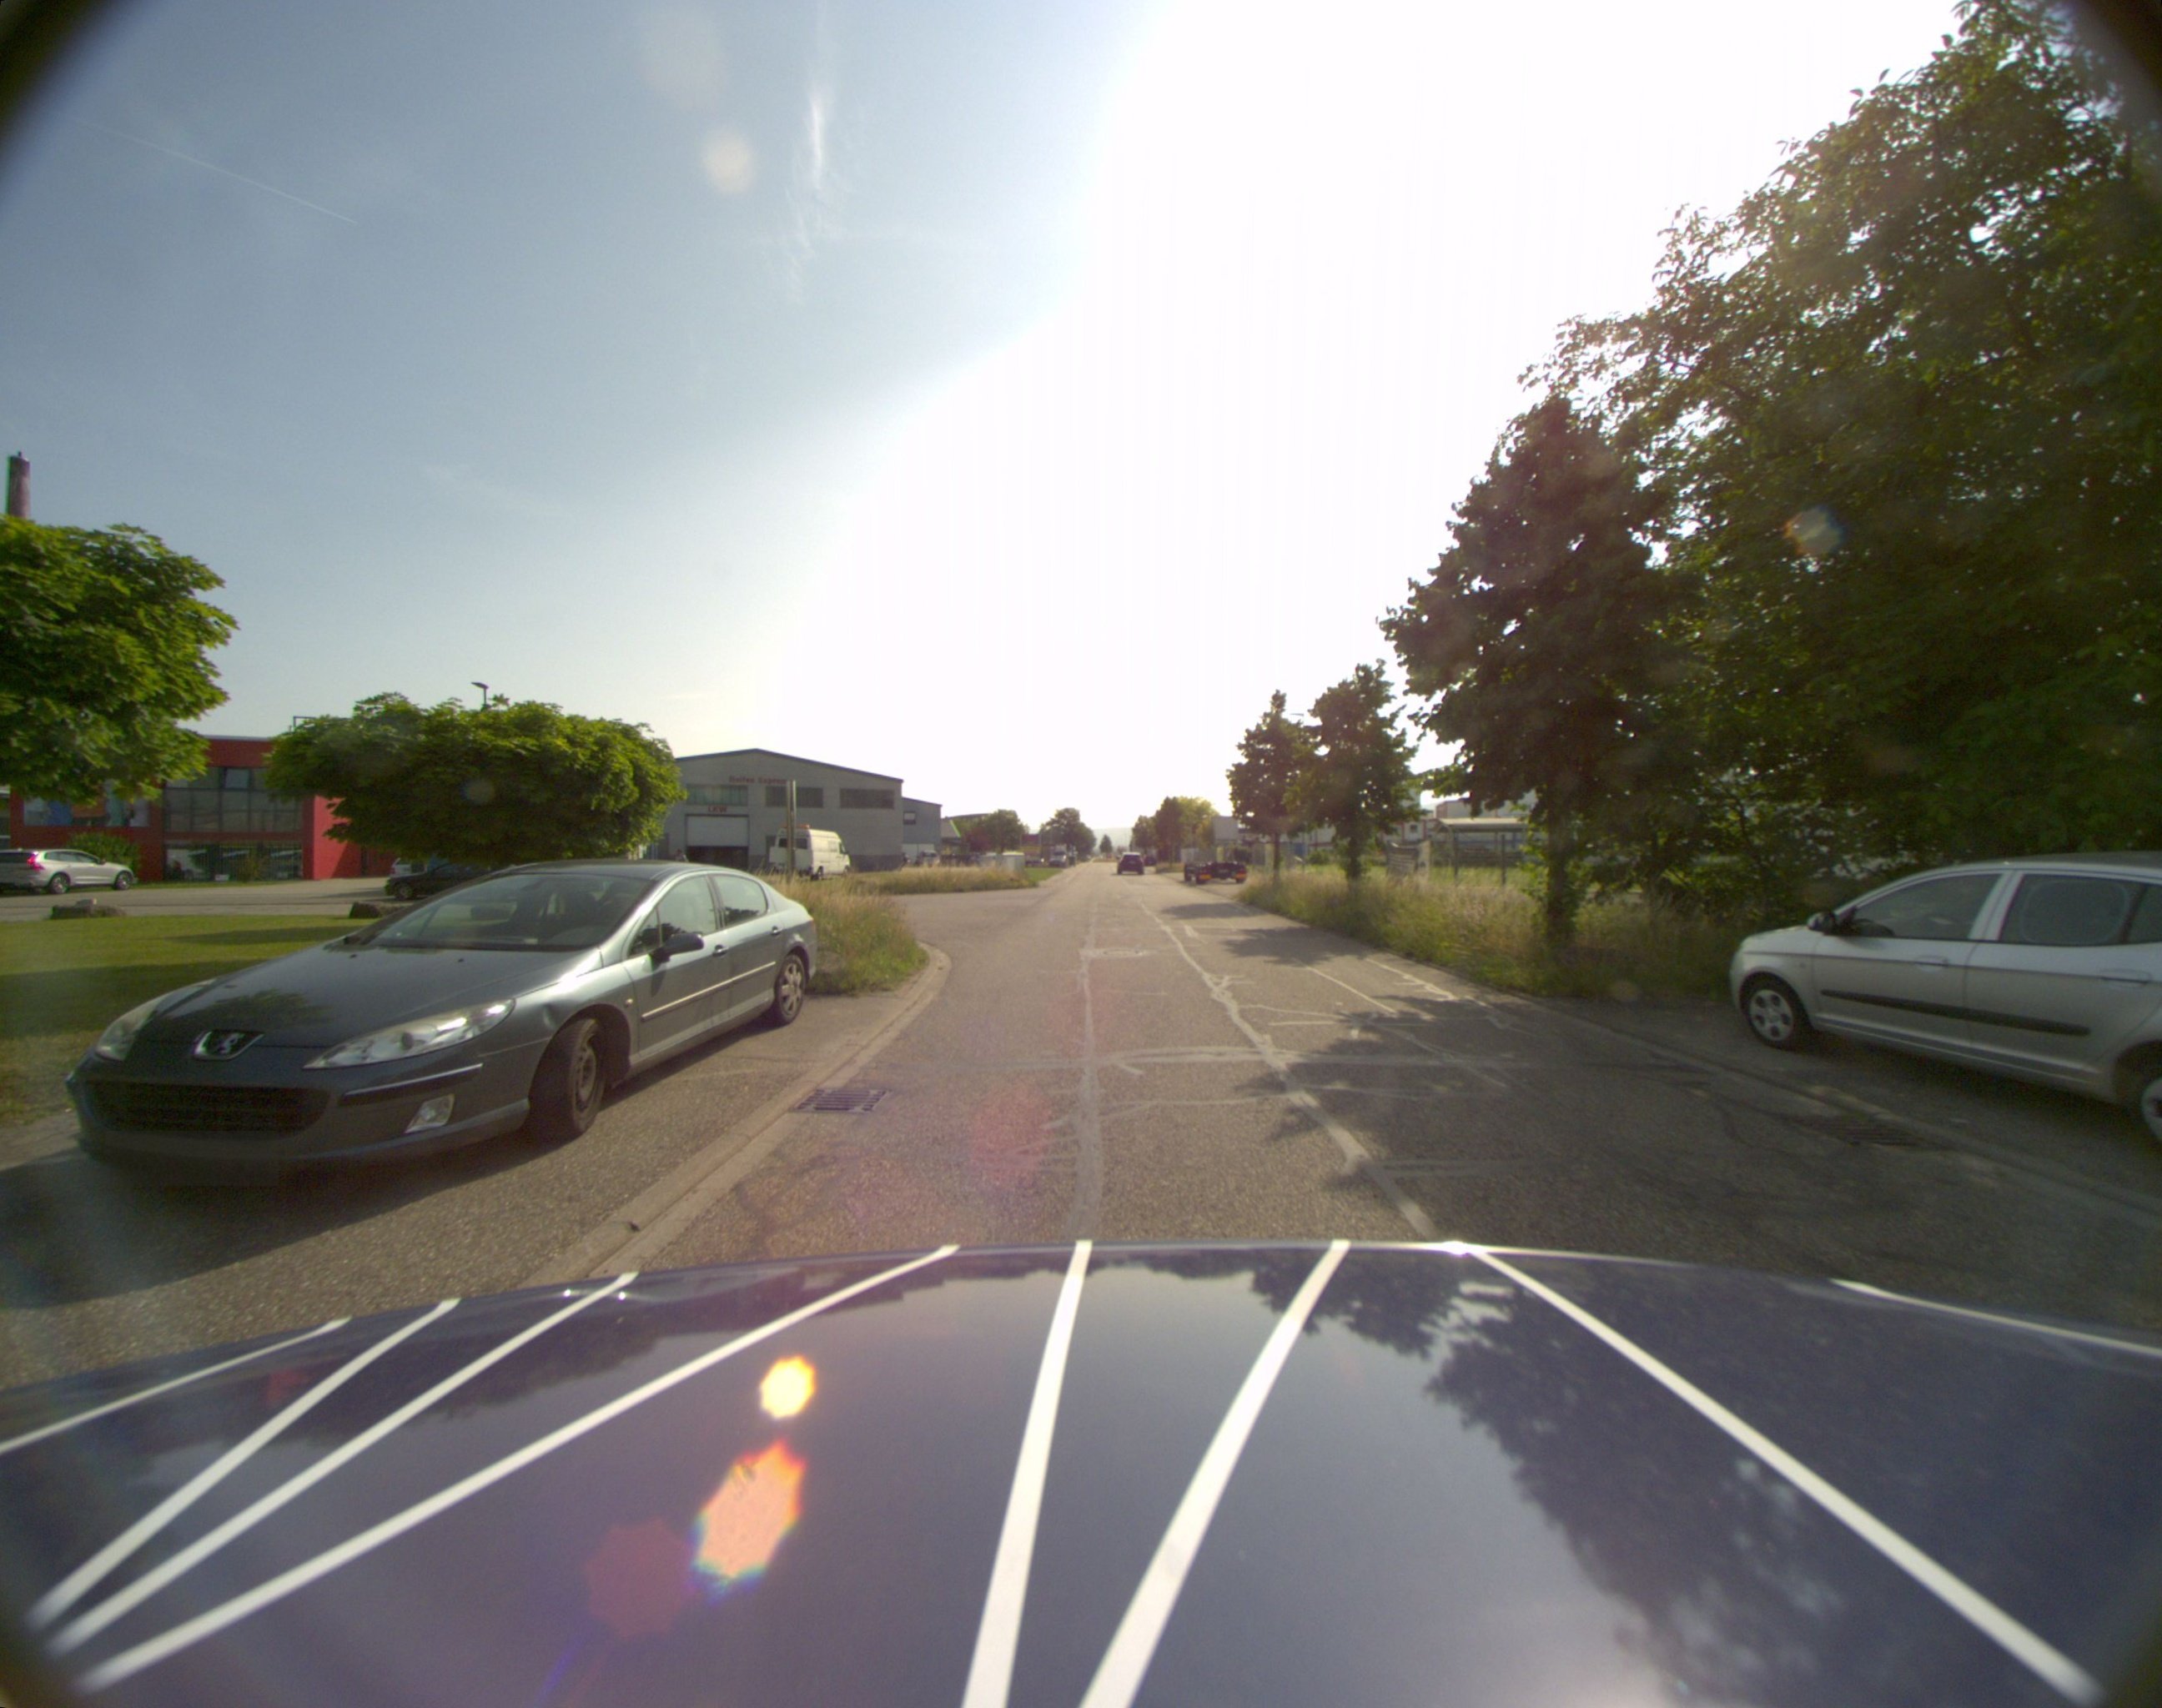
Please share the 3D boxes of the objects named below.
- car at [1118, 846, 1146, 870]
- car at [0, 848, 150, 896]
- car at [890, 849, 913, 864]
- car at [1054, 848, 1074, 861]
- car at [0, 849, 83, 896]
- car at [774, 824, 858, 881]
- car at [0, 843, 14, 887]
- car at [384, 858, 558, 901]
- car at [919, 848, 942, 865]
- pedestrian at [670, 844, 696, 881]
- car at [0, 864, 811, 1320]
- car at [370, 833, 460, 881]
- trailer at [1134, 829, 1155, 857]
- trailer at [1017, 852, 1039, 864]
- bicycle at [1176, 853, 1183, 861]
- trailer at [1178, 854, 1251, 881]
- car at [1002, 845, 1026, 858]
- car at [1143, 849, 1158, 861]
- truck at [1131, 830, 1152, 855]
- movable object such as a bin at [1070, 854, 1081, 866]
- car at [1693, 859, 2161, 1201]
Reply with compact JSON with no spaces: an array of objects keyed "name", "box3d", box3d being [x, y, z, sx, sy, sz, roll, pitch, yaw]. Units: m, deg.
[{"name":"car","box3d":[3.781,0.285,57.241,1.860,1.705,4.226,2,1,1]},{"name":"car","box3d":[-37.793,0.603,28.319,1.788,1.623,4.458,0,1,-18]},{"name":"car","box3d":[-16.931,0.207,71.516,1.683,1.394,3.705,0,1,-20]},{"name":"car","box3d":[-1.840,0.021,84.466,1.677,1.361,4.395,0,1,6]},{"name":"car","box3d":[-40.106,0.668,28.104,1.788,1.623,4.200,0,1,-18]},{"name":"car","box3d":[-13.338,-0.101,38.700,1.979,2.690,5.881,0,1,3]},{"name":"car","box3d":[-43.599,0.456,28.644,1.717,1.787,4.200,0,1,-18]},{"name":"car","box3d":[-21.584,0.858,27.078,4.474,1.401,1.809,0,2,-11]},{"name":"car","box3d":[-14.422,0.243,72.783,1.641,1.559,3.798,0,1,-20]},{"name":"pedestrian","box3d":[-17.879,0.381,34.181,0.703,1.630,0.749,0,1,12]},{"name":"car","box3d":[-3.468,0.871,4.901,1.798,1.508,4.424,1,0,1]},{"name":"car","box3d":[-29.962,0.092,34.342,2.003,2.002,3.991,0,1,-25]},{"name":"trailer","box3d":[9.539,-1.642,114.471,2.706,3.862,9.765,-1,1,3]},{"name":"trailer","box3d":[-5.649,0.411,80.763,1.496,1.241,2.971,-2,1,-22]},{"name":"bicycle","box3d":[12.178,0.381,93.820,0.563,0.967,2.452,1,0,1]},{"name":"trailer","box3d":[7.192,0.659,42.327,2.589,1.177,9.362,-2,1,1]},{"name":"car","box3d":[-8.166,-0.316,91.948,1.723,1.563,4.124,0,1,-22]},{"name":"car","box3d":[8.654,0.134,94.297,1.691,1.461,4.094,0,1,3]},{"name":"truck","box3d":[9.847,-1.793,124.108,2.720,3.862,9.635,-1,1,1]},{"name":"movable object such as a bin","box3d":[-0.624,0.661,89.947,1.083,1.345,1.506,3,1,4]},{"name":"car","box3d":[6.008,0.854,4.753,1.570,1.529,3.688,-1,1,4]}]
